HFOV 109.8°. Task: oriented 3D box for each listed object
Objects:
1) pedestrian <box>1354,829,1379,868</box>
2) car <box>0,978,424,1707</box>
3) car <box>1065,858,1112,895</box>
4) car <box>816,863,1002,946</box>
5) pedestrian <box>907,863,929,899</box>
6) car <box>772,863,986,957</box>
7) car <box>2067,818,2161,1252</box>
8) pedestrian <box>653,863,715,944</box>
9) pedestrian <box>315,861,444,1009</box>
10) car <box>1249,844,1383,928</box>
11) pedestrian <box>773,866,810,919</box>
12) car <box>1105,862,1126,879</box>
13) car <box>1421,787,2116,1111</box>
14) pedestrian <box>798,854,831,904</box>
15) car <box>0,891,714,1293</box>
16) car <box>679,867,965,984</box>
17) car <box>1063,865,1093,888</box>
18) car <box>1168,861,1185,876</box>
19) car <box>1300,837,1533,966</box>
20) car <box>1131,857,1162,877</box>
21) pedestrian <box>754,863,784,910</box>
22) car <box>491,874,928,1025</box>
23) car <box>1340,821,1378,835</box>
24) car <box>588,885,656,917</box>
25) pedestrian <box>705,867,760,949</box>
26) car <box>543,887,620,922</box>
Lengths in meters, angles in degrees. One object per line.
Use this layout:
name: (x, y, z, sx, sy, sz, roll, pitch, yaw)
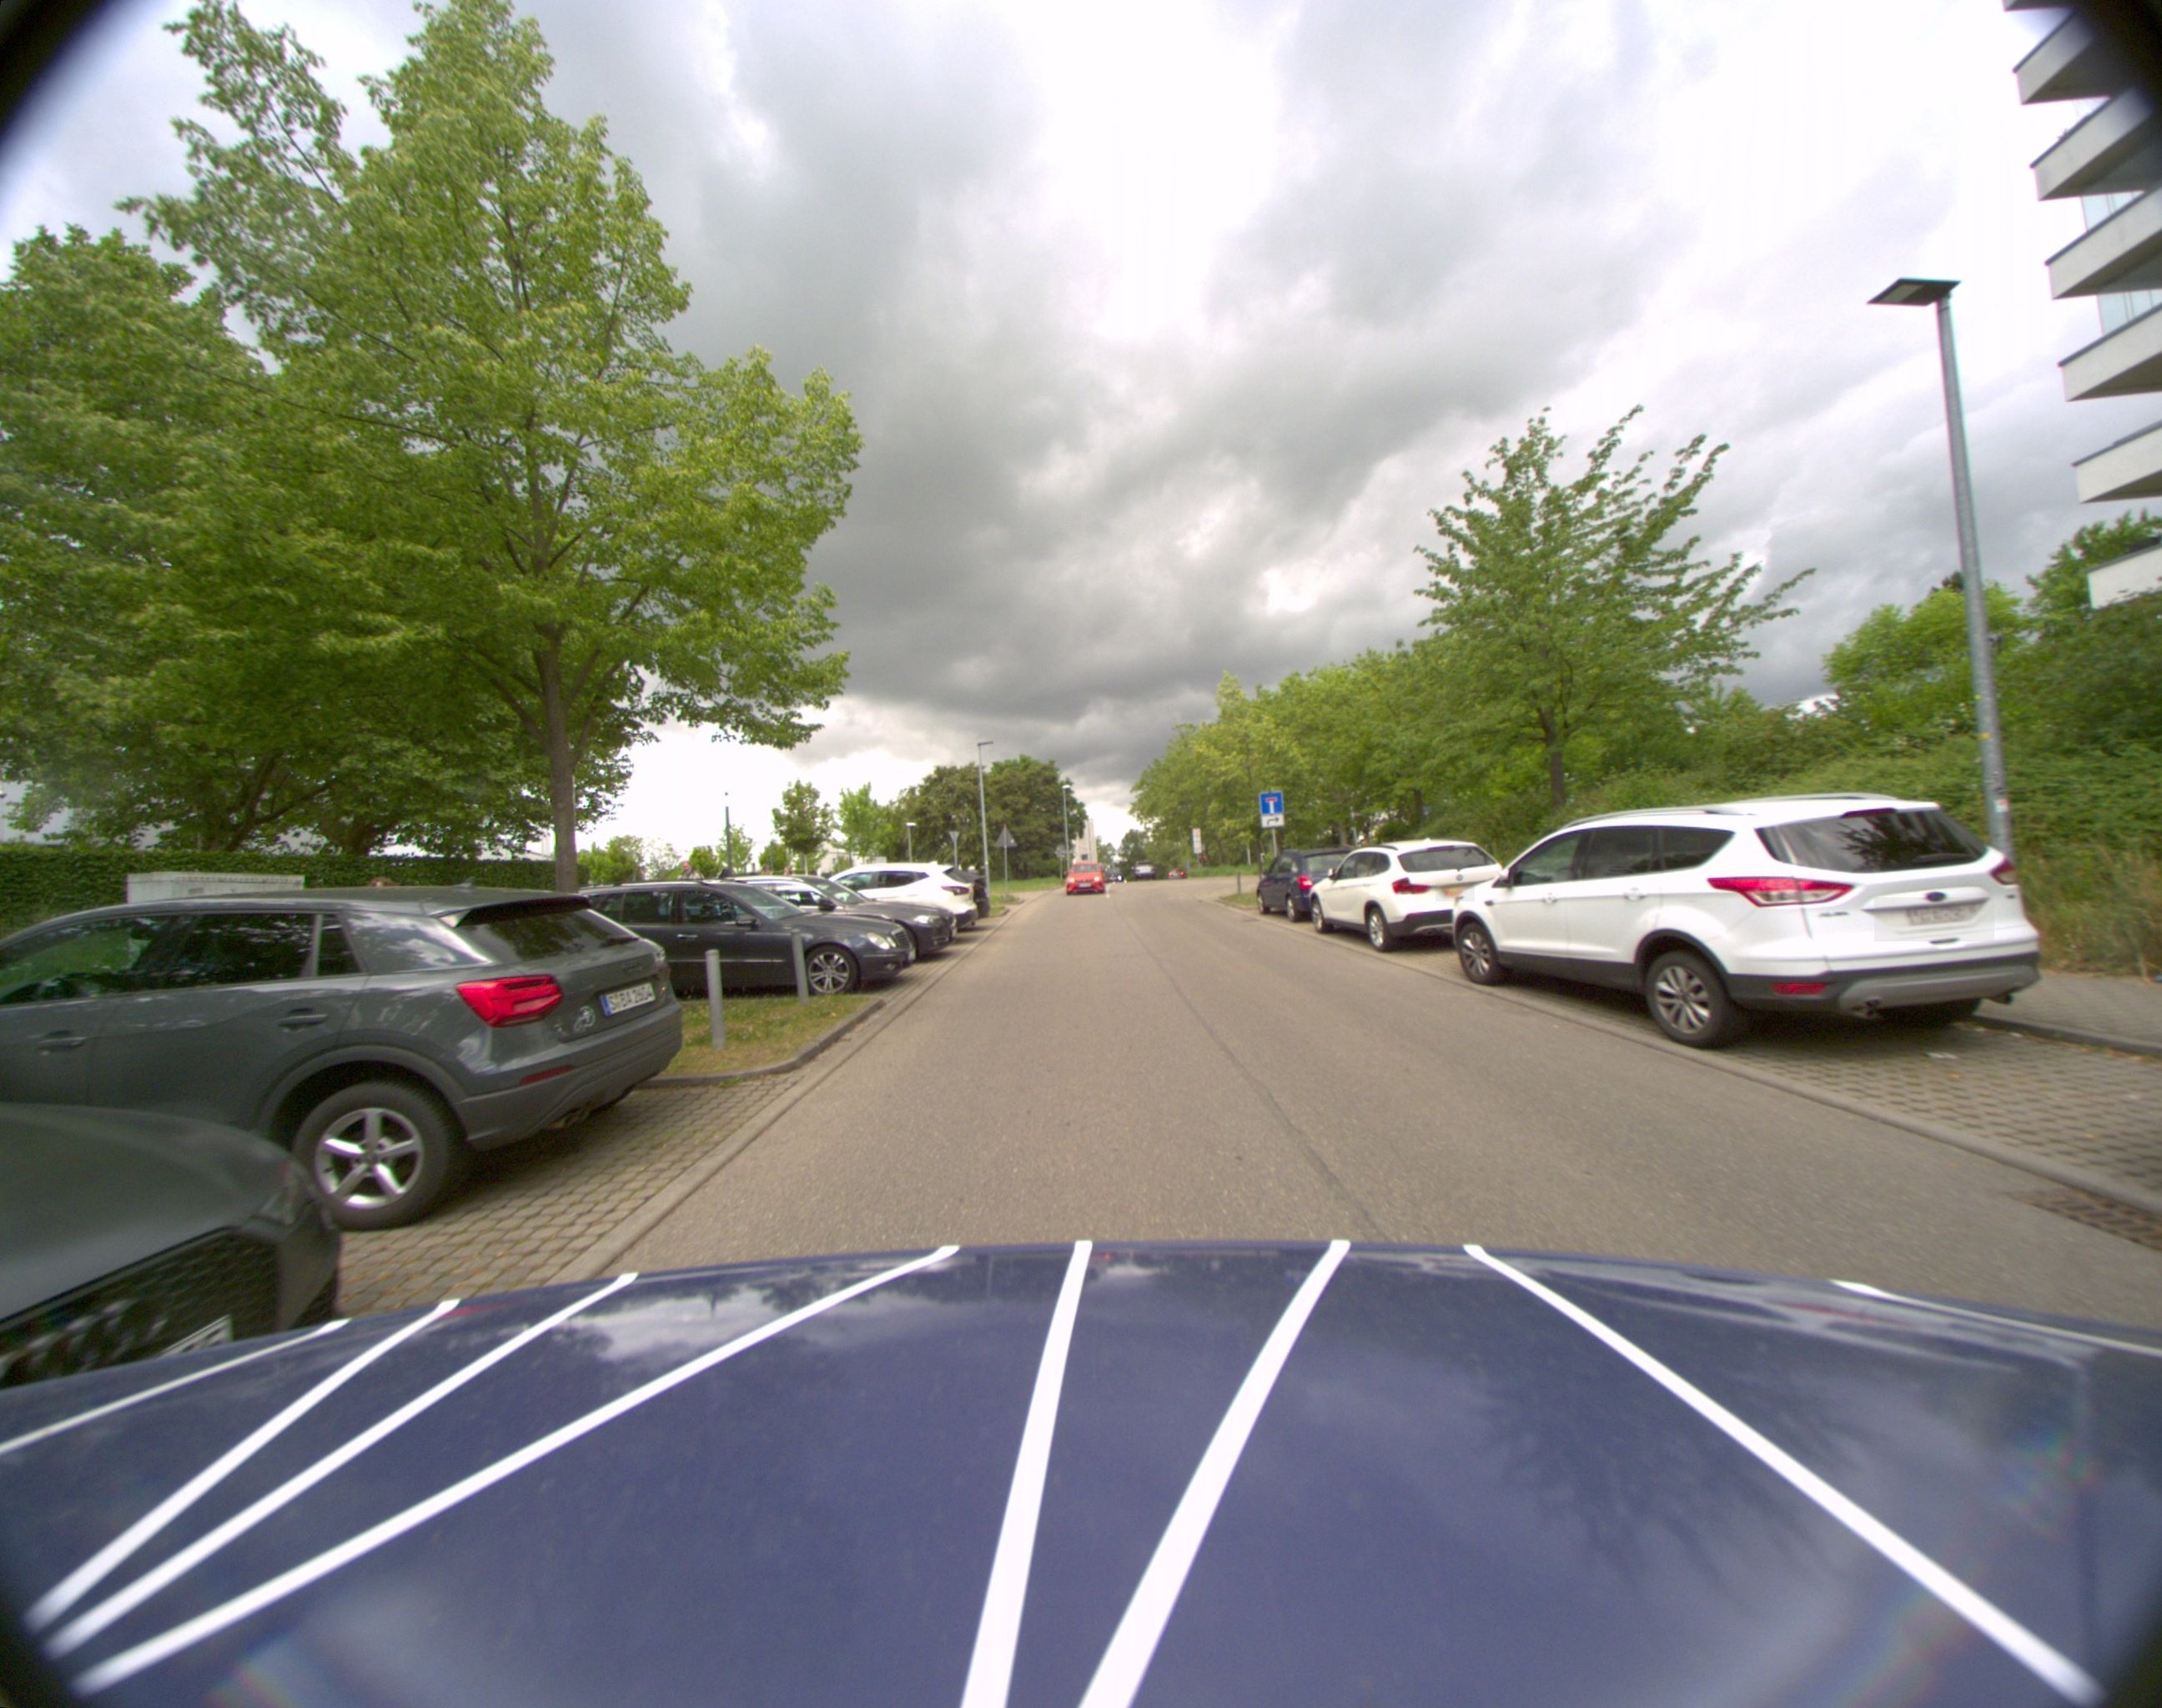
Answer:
pedestrian: (12.294, -0.240, 32.740, 0.634, 1.600, 0.720, -4, -3, -4)
car: (-3.878, 1.077, 1.386, 3.833, 1.363, 1.843, -1, 0, 4)
car: (0.399, 0.985, 35.308, 1.758, 1.506, 4.002, -4, 0, 5)
car: (-3.771, 1.090, 17.045, 3.679, 1.565, 1.593, -3, 1, 2)
pedestrian: (-8.168, 1.338, 37.969, 0.764, 1.712, 0.885, -3, 0, -28)
car: (-3.905, 1.063, 15.126, 3.679, 1.637, 1.852, -2, 0, 2)
car: (4.842, 0.568, 0.746, 1.803, 1.606, 4.479, -6, -1, 0)
pedestrian: (-9.113, 1.112, 17.469, 0.833, 1.782, 0.878, -4, 0, 1)
pedestrian: (-9.047, 1.008, 9.837, 0.741, 1.782, 0.878, -4, 0, 1)
car: (5.062, 0.657, 16.938, 1.694, 1.478, 3.954, -6, -1, 1)
pedestrian: (-9.134, 1.209, 24.020, 0.689, 1.611, 0.932, -4, 0, 1)
car: (3.501, 1.668, 76.390, 1.758, 1.506, 4.002, -4, -1, 5)
car: (4.909, 0.571, 6.544, 1.812, 1.654, 4.437, -6, -1, 0)
pedestrian: (-7.955, 0.738, 22.720, 0.620, 1.460, 0.736, -4, 0, 1)
car: (-4.357, 1.042, 4.059, 3.835, 1.511, 1.911, -1, 0, -3)
car: (-4.093, 1.103, 12.563, 3.997, 1.510, 1.883, -4, 0, -1)
car: (-0.167, 1.590, 55.678, 1.758, 1.506, 4.002, -4, -1, 5)
car: (11.191, 1.689, 89.377, 1.758, 1.506, 4.002, -4, -1, 5)
car: (4.969, 0.647, 11.997, 1.694, 1.502, 4.231, -6, -1, 0)
car: (5.413, 1.092, 62.987, 1.902, 1.573, 4.167, 2, -1, -4)
pedestrian: (-11.657, 1.212, 28.415, 0.655, 1.701, 0.706, -4, 0, 7)
car: (-4.461, 1.125, 9.762, 4.587, 1.483, 1.951, -2, 0, -2)
car: (32.255, -3.024, 88.228, 4.004, 1.455, 1.651, -3, -1, -24)
car: (-34.200, 3.463, 56.739, 4.004, 2.001, 1.996, -3, -1, -25)
pedestrian: (-7.962, 1.206, 17.389, 0.741, 1.782, 0.878, -4, 0, 1)
car: (-33.764, 3.362, 51.524, 4.004, 2.001, 1.996, -3, -1, -25)
